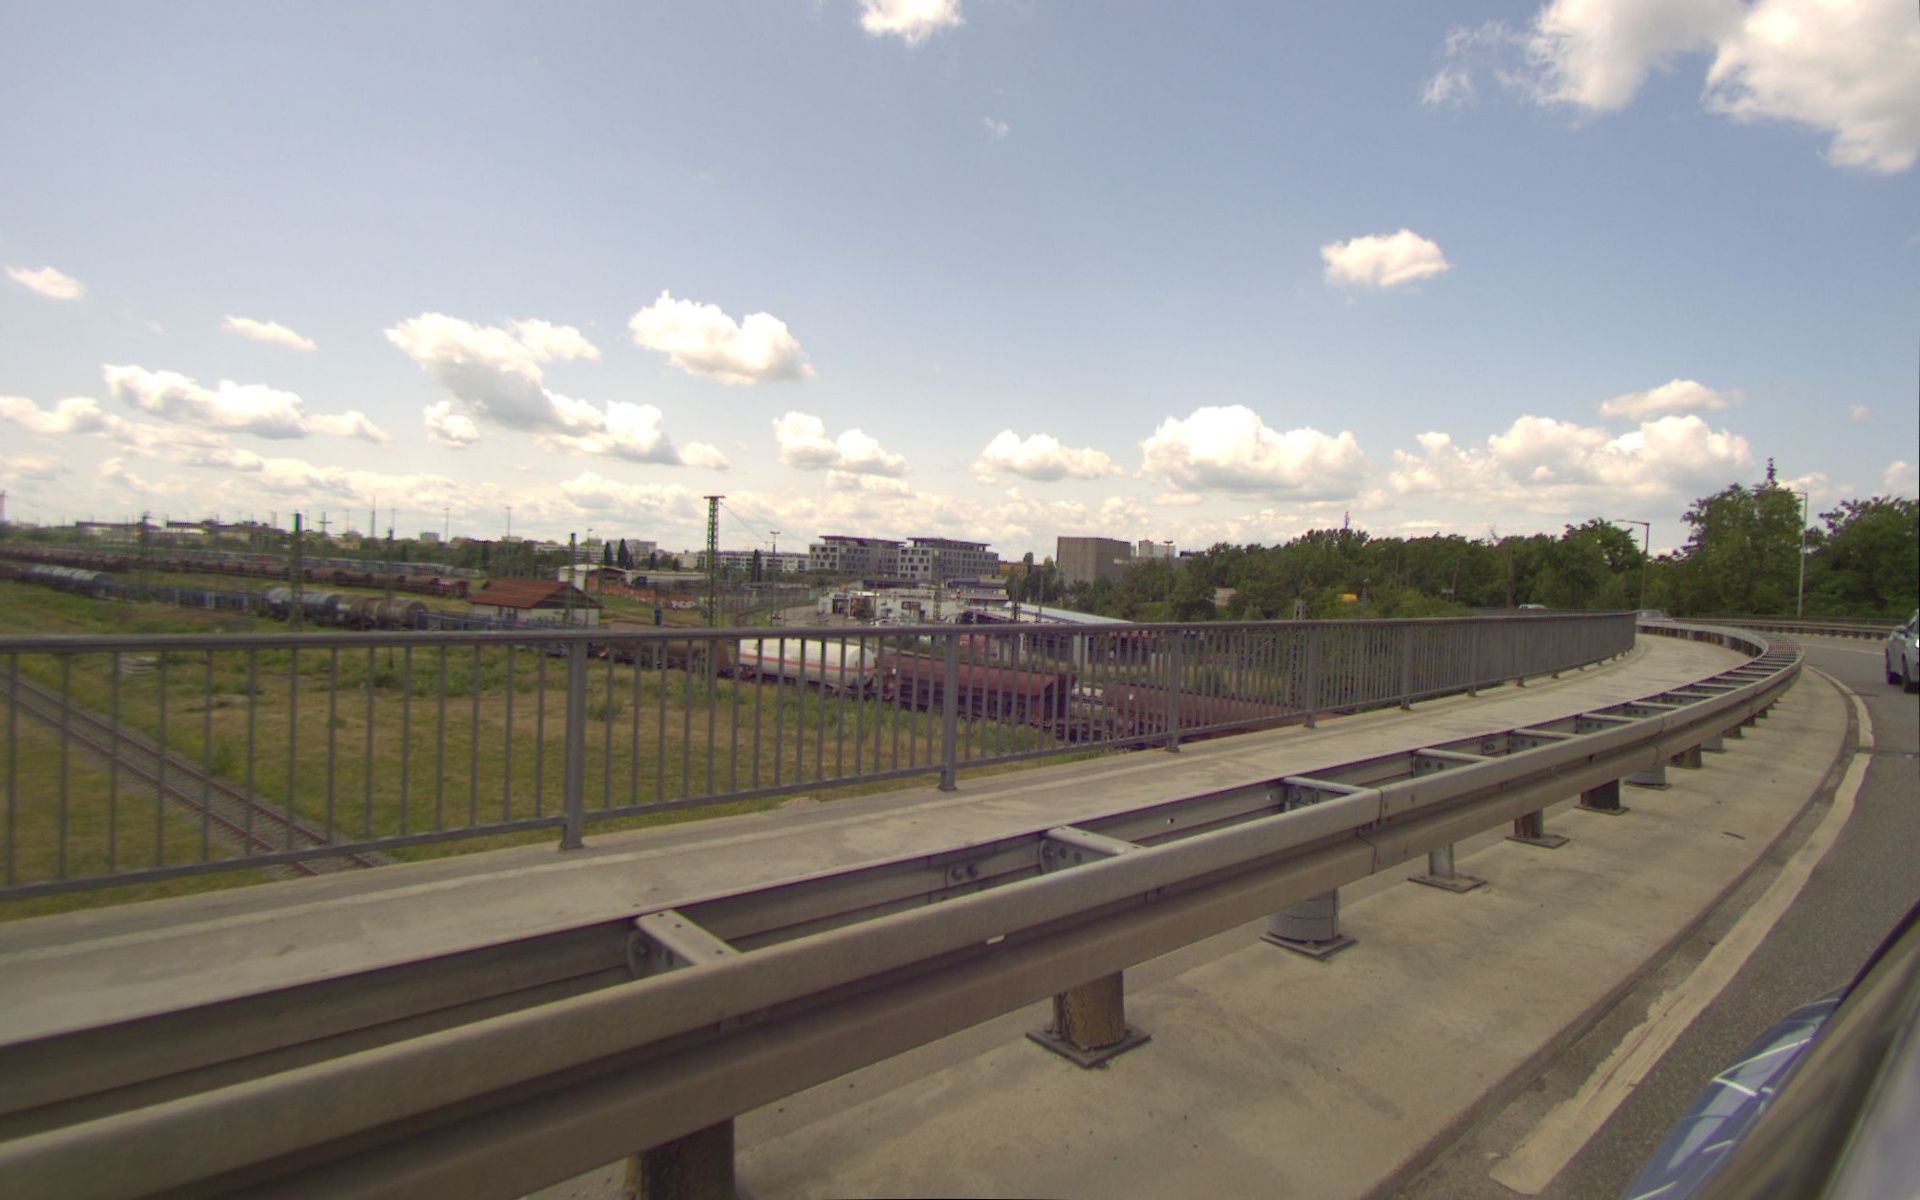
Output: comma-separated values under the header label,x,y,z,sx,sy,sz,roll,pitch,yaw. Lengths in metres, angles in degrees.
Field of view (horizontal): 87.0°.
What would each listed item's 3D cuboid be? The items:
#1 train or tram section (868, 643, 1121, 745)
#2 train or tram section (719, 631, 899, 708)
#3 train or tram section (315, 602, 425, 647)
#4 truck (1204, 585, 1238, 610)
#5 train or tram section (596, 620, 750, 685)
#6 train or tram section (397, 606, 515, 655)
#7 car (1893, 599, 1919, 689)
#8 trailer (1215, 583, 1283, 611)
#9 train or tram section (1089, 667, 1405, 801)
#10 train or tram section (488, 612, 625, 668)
label,x,y,z,sx,sy,sz,roll,pitch,yaw
train or tram section,1.542,5.671,65.071,18.837,4.202,3.172,3,4,43
train or tram section,-11.887,5.038,77.083,16.888,4.202,3.173,3,4,40
train or tram section,-67.394,2.655,115.375,15.826,4.202,3.181,2,4,29
truck,43.465,-0.443,168.749,2.712,4.187,5.664,0,0,-20
train or tram section,-25.281,4.342,88.062,17.605,4.202,3.170,3,4,38
train or tram section,-53.698,3.145,107.463,15.838,4.202,3.179,2,4,31
car,18.535,0.769,18.526,1.819,1.544,3.944,0,-1,38
trailer,45.995,-0.460,161.763,2.658,4.334,14.260,0,0,-20
train or tram section,14.032,6.467,52.360,3.088,4.202,16.579,-3,4,-42
train or tram section,-39.514,3.725,98.451,17.579,4.202,3.175,2,4,34
